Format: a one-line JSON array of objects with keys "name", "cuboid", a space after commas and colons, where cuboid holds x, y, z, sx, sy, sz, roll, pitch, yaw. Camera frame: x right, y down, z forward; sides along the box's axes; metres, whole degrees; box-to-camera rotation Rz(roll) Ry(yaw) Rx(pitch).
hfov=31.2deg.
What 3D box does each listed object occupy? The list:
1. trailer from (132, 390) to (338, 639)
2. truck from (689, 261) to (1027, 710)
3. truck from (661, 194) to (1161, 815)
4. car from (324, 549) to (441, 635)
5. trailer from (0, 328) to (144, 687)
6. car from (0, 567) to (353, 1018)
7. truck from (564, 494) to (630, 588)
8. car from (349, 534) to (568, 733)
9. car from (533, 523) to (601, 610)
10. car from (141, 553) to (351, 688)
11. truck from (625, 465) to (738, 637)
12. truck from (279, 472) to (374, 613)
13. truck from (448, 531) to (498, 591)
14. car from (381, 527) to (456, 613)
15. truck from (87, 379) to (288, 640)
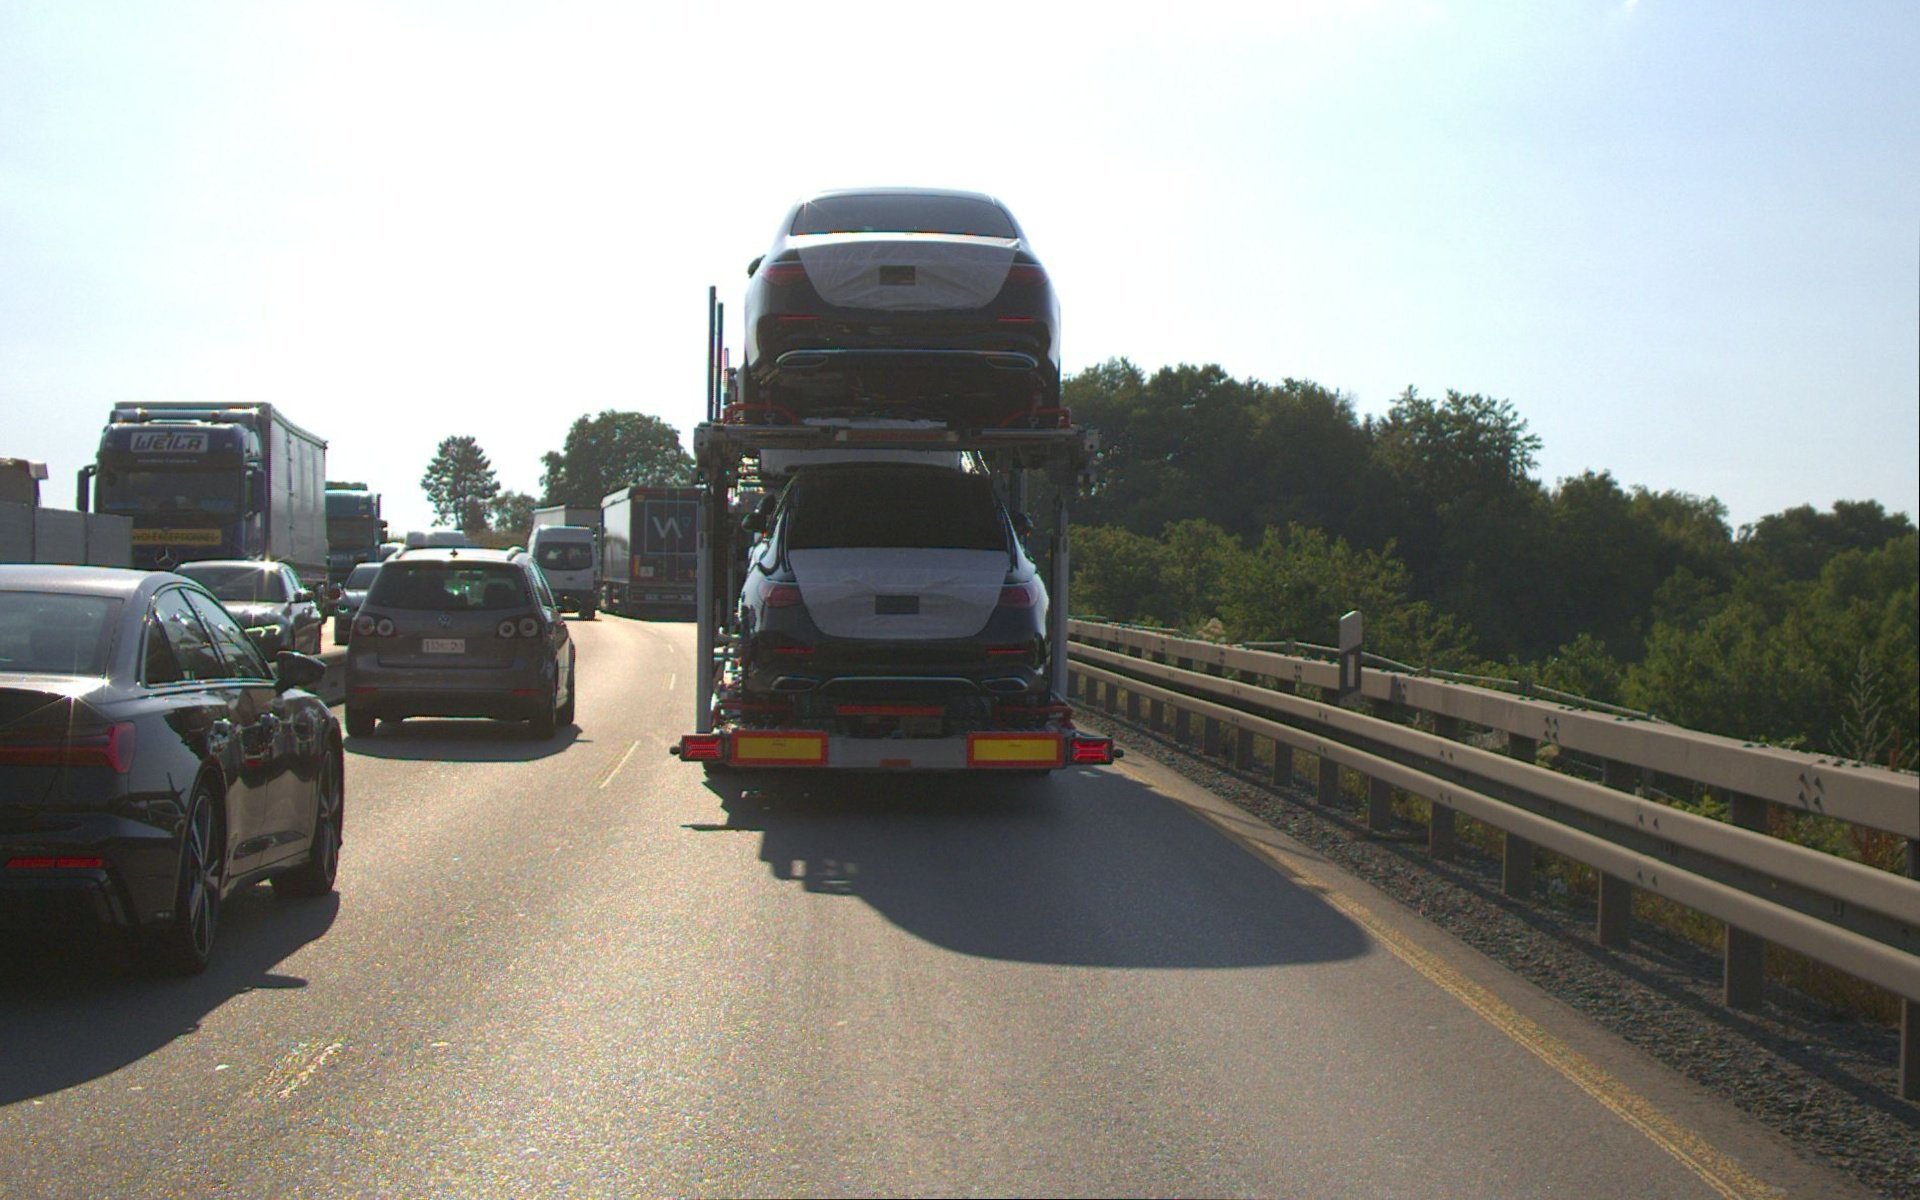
[{"name": "trailer", "cuboid": [-13.361, -1.480, 64.412, 2.306, 4.116, 14.604, 0, 0, -6]}, {"name": "truck", "cuboid": [-1.129, -1.002, 34.083, 2.837, 3.779, 9.988, 0, 0, -3]}, {"name": "truck", "cuboid": [-0.575, -0.572, 24.718, 2.799, 3.485, 10.606, 0, 0, -3]}, {"name": "car", "cuboid": [-10.501, -0.160, 62.722, 1.758, 1.503, 4.255, 0, 0, -5]}, {"name": "trailer", "cuboid": [-11.387, -0.982, 37.887, 2.519, 3.712, 13.980, 0, 0, -4]}, {"name": "car", "cuboid": [-3.613, 0.593, 13.421, 1.934, 1.394, 4.962, 1, 1, -4]}, {"name": "truck", "cuboid": [-14.659, -2.346, 138.740, 2.530, 3.635, 8.907, 0, 0, -6]}, {"name": "car", "cuboid": [-4.245, 0.258, 29.562, 1.691, 1.590, 4.001, 0, 0, -6]}, {"name": "car", "cuboid": [-11.553, -0.971, 101.311, 1.920, 2.484, 5.410, 0, 0, -6]}, {"name": "car", "cuboid": [-8.382, 0.212, 40.689, 1.793, 1.506, 4.586, 0, 0, -4]}, {"name": "truck", "cuboid": [-8.959, -1.520, 109.512, 3.285, 5.219, 9.938, 0, 0, -6]}, {"name": "truck", "cuboid": [-18.874, -1.691, 102.670, 2.502, 4.052, 5.885, 0, 0, -8]}, {"name": "truck", "cuboid": [-26.596, -2.114, 187.867, 2.590, 3.159, 6.678, 0, 0, -7]}, {"name": "car", "cuboid": [-16.265, -0.908, 103.450, 2.056, 2.491, 6.777, 0, 0, -8]}, {"name": "truck", "cuboid": [-12.617, -1.426, 56.520, 2.503, 4.052, 5.666, 0, 0, -5]}]
